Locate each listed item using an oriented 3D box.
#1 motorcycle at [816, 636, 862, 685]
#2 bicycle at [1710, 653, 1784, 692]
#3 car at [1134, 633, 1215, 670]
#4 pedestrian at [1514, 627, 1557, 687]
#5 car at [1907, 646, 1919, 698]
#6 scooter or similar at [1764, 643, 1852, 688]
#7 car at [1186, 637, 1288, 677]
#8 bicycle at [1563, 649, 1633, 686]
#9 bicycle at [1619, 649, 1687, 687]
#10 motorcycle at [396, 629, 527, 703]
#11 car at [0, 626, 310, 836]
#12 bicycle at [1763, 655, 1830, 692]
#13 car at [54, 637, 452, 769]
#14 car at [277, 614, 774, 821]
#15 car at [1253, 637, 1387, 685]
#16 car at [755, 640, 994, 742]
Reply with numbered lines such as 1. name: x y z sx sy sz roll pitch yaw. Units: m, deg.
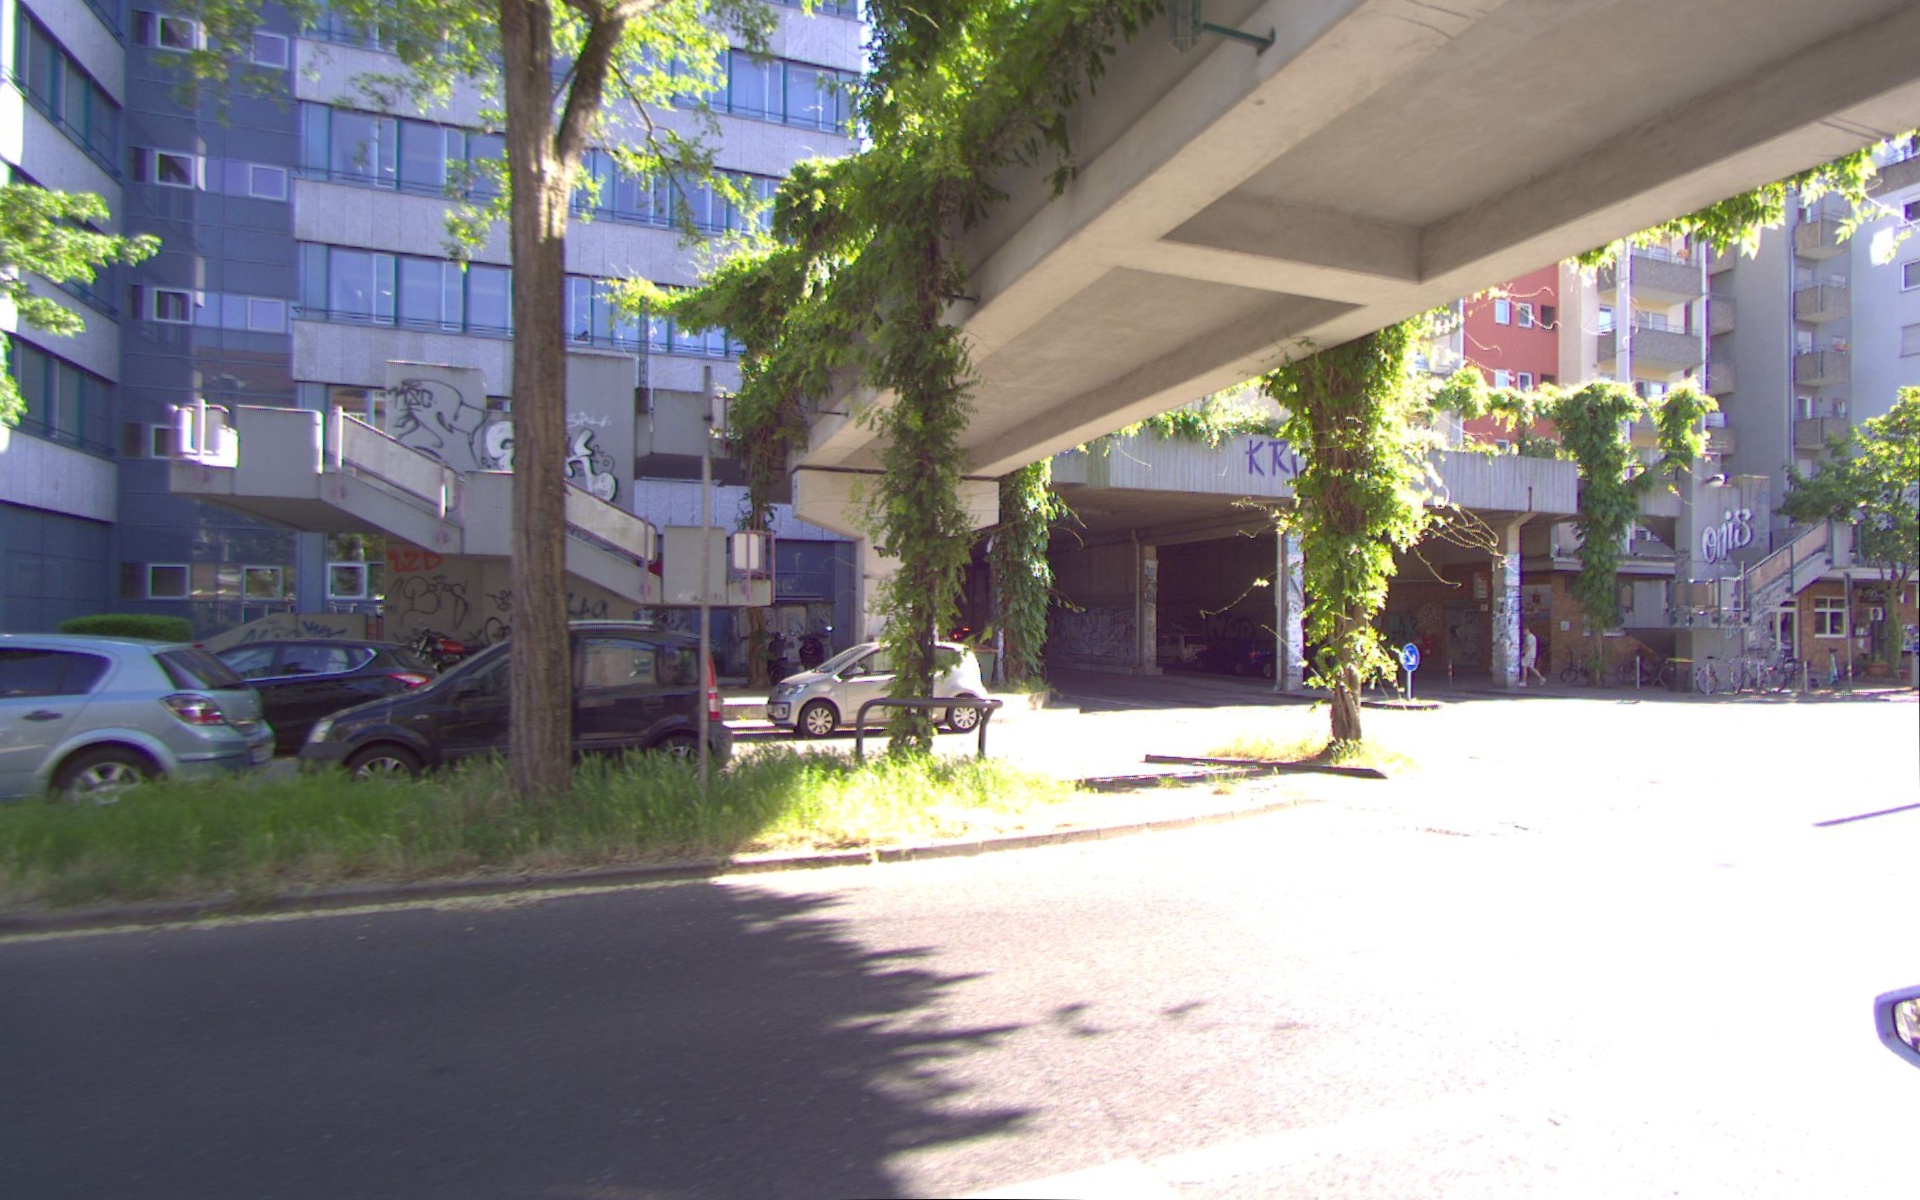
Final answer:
1. motorcycle: -3.691 1.788 30.397 0.728 1.401 3.008 1 -2 -19
2. bicycle: 22.003 2.017 28.083 1.767 1.045 0.415 1 2 -4
3. car: 9.128 2.164 43.004 1.586 1.507 3.617 1 -2 -24
4. pedestrian: 17.143 1.676 29.934 0.784 1.722 0.754 1 1 -21
5. car: 28.632 1.979 27.615 4.458 1.416 1.890 1 -2 -18
6. scooter or similar: 25.840 1.979 30.640 0.622 1.294 1.961 0 -1 -24
7. car: 10.550 2.131 38.533 1.741 1.429 4.044 1 -2 -21
8. bicycle: 19.188 2.019 30.234 0.478 1.014 1.789 0 -1 -28
9. bicycle: 20.402 1.992 29.606 0.412 1.014 1.597 -1 1 -42
10. motorcycle: -8.947 1.166 18.121 2.023 1.287 0.728 1 -2 -21
11. car: -7.600 0.976 7.587 4.219 1.466 1.650 1 -5 -22
12. bicycle: 23.898 2.082 28.689 1.770 1.014 0.414 0 2 -11
13. car: -9.056 1.262 13.296 3.940 1.550 1.730 1 -2 -21
14. car: -3.683 0.971 9.056 3.722 1.558 1.738 1 -4 -20
15. car: 12.054 2.021 33.968 1.828 1.451 4.589 3 -2 -18
16. car: -1.395 1.404 16.346 3.594 1.505 1.603 1 -2 -21
